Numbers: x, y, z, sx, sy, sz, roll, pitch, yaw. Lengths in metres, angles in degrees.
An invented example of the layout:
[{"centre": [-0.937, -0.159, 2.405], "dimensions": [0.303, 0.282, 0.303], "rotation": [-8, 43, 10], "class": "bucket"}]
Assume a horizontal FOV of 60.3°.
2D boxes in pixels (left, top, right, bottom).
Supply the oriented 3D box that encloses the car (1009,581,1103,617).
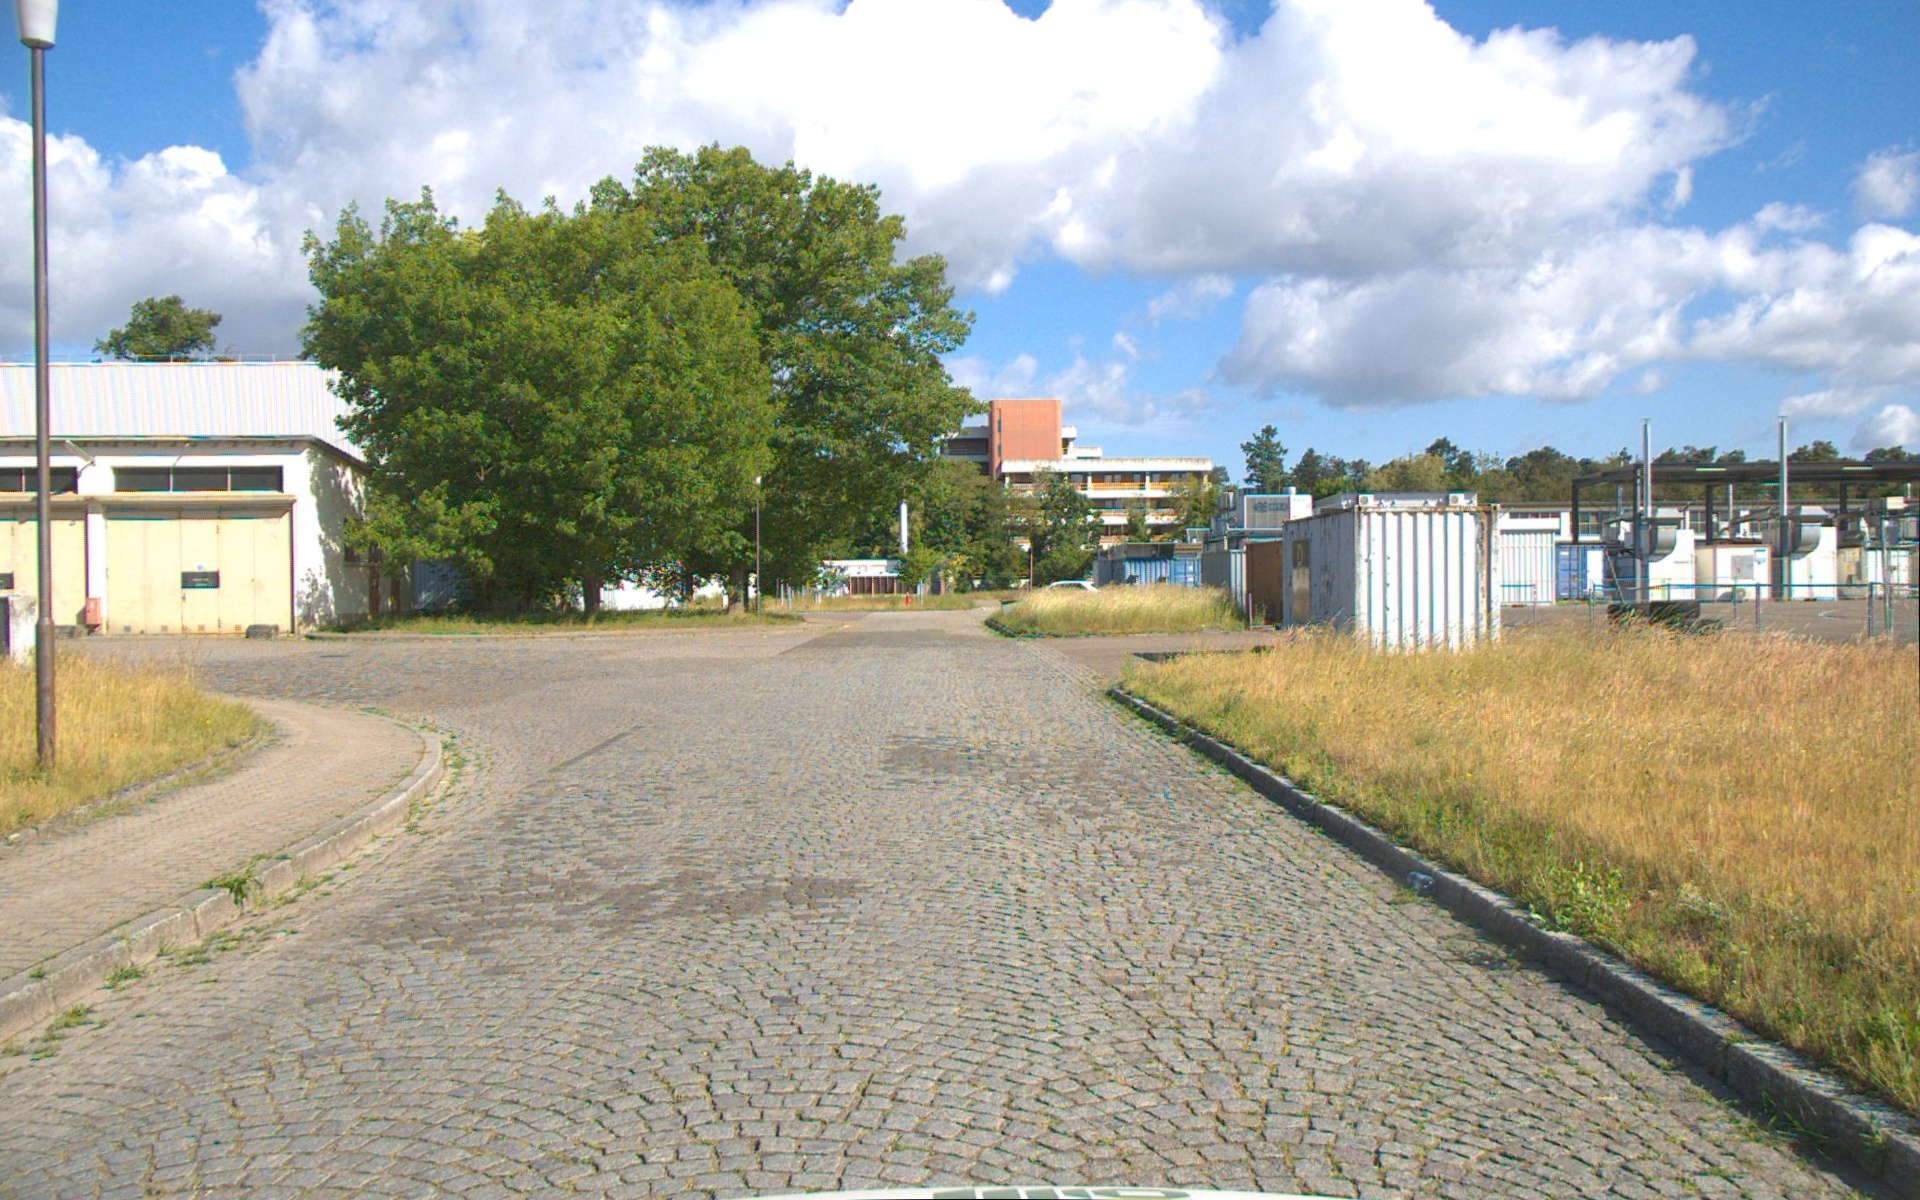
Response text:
[{"centre": [4.668, -0.050, 80.959], "dimensions": [4.414, 1.676, 1.999], "rotation": [-1, 0, -3], "class": "car"}]
